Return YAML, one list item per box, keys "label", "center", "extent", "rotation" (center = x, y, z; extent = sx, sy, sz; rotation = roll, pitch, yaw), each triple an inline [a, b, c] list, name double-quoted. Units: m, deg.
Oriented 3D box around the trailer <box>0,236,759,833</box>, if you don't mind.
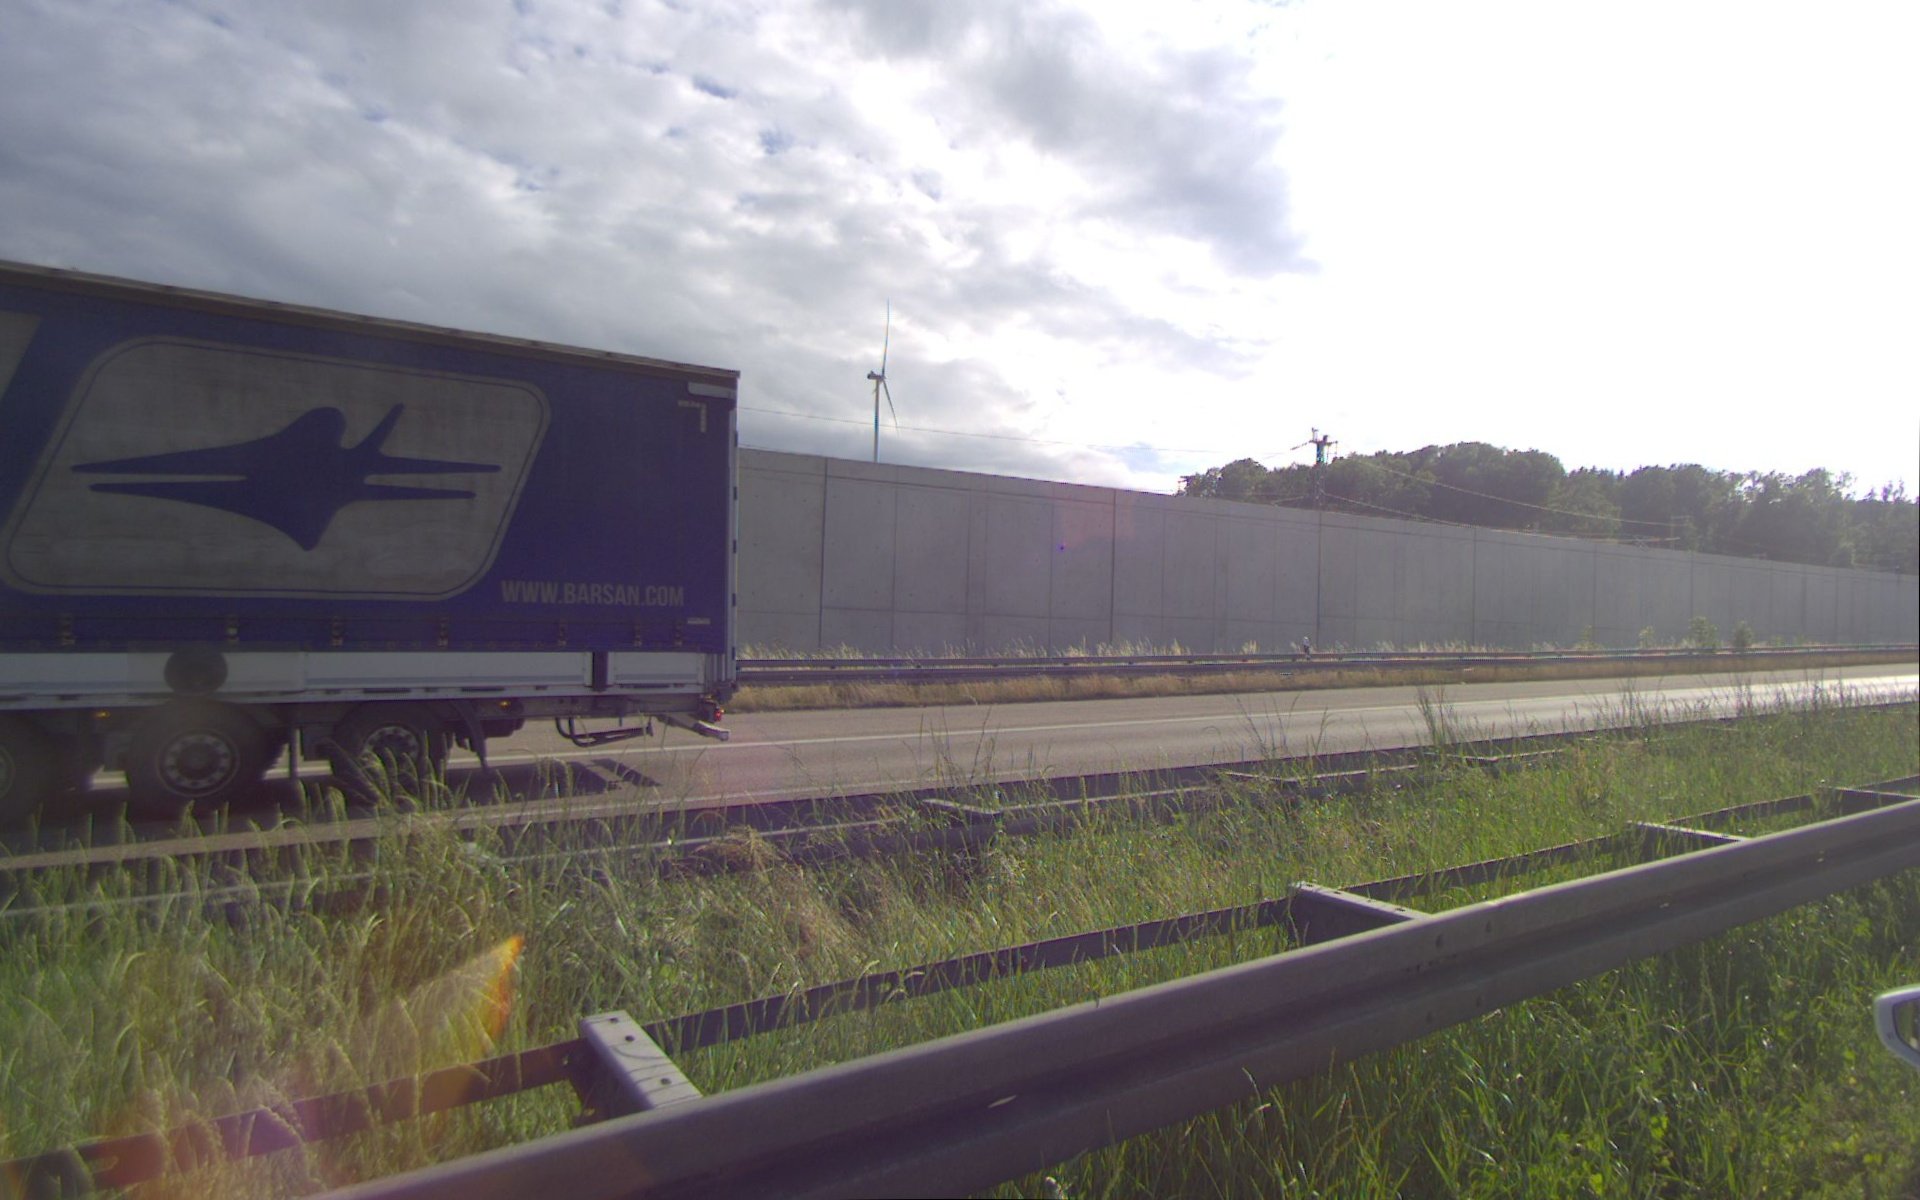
- label: "trailer"
  center: [-7.880, -0.479, 7.732]
  extent: [12.264, 4.135, 2.638]
  rotation: [2, 0, -33]
